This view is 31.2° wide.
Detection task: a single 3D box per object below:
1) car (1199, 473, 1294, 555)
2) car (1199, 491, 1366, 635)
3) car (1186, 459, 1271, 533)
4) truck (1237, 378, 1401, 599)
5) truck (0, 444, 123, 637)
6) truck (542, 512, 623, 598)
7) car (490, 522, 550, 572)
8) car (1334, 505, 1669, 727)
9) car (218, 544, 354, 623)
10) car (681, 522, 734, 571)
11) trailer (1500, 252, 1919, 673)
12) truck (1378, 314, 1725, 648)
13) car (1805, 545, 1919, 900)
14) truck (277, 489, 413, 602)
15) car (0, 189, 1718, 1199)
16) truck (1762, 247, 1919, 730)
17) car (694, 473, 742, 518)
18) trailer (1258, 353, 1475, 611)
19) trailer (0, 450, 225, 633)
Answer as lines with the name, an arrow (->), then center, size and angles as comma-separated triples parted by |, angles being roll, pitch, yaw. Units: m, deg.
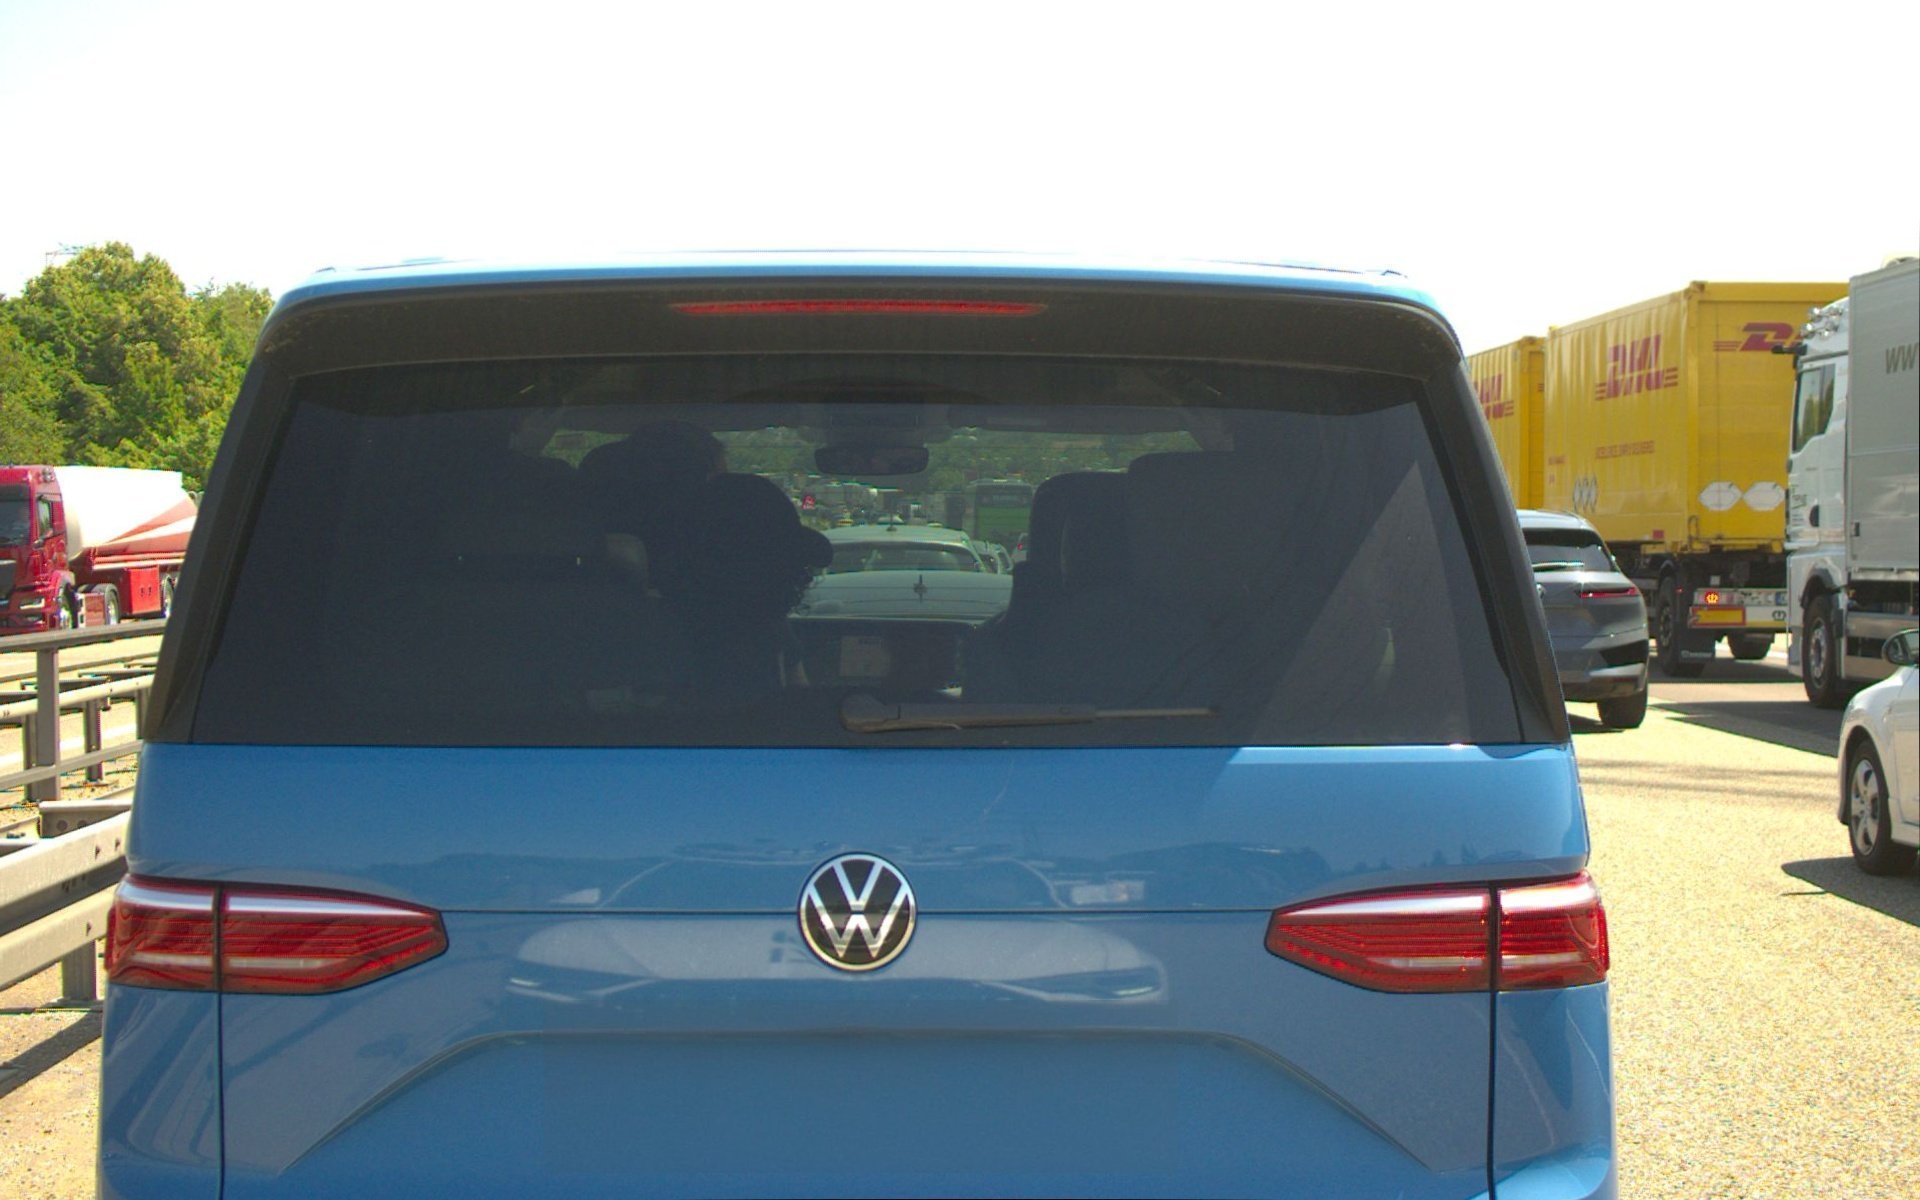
car -> 7.233, -2.151, 87.092 | 1.993, 2.007, 4.000 | 1, 1, 0
car -> 4.604, -0.552, 49.656 | 1.962, 1.986, 4.293 | 0, 1, -1
car -> 7.602, -2.931, 97.650 | 1.993, 2.007, 4.461 | -1, 1, 0
truck -> 7.584, -2.317, 73.419 | 2.667, 4.469, 6.850 | 1, 1, 0
truck -> -17.379, -1.058, 63.191 | 2.497, 3.354, 5.834 | -2, 1, -1
truck -> -15.468, -1.866, 141.231 | 2.561, 3.348, 8.865 | -2, 1, -2
car -> -19.806, -2.413, 154.959 | 2.082, 2.142, 4.312 | -2, 1, 0
car -> 4.239, 0.074, 27.568 | 1.962, 1.639, 4.293 | 0, 1, -1
car -> -13.402, -0.354, 68.579 | 1.863, 1.439, 4.131 | -3, 1, 0
car -> -10.558, -2.229, 143.945 | 1.901, 2.007, 4.000 | 1, 1, 0
trailer -> 8.398, -1.449, 39.293 | 2.864, 4.224, 9.012 | 1, 1, -1
truck -> 8.213, -1.607, 49.324 | 2.836, 4.228, 11.011 | 1, 1, -1
car -> 4.843, 0.513, 13.819 | 1.788, 1.450, 4.293 | 0, 1, -1
truck -> -18.326, -1.638, 102.888 | 2.518, 3.100, 8.724 | -4, 1, -1
car -> -0.146, 0.474, 5.642 | 1.820, 1.851, 4.075 | 1, 1, 0
truck -> 8.569, -0.827, 25.104 | 2.656, 3.635, 11.012 | 0, 1, -1
car -> -11.354, -4.884, 161.435 | 1.993, 2.007, 4.312 | 1, 1, 0
trailer -> 7.628, -2.198, 66.091 | 2.637, 4.501, 11.302 | 1, 1, -1
trailer -> -17.498, -1.191, 70.069 | 2.481, 3.332, 12.074 | -2, 1, -1
